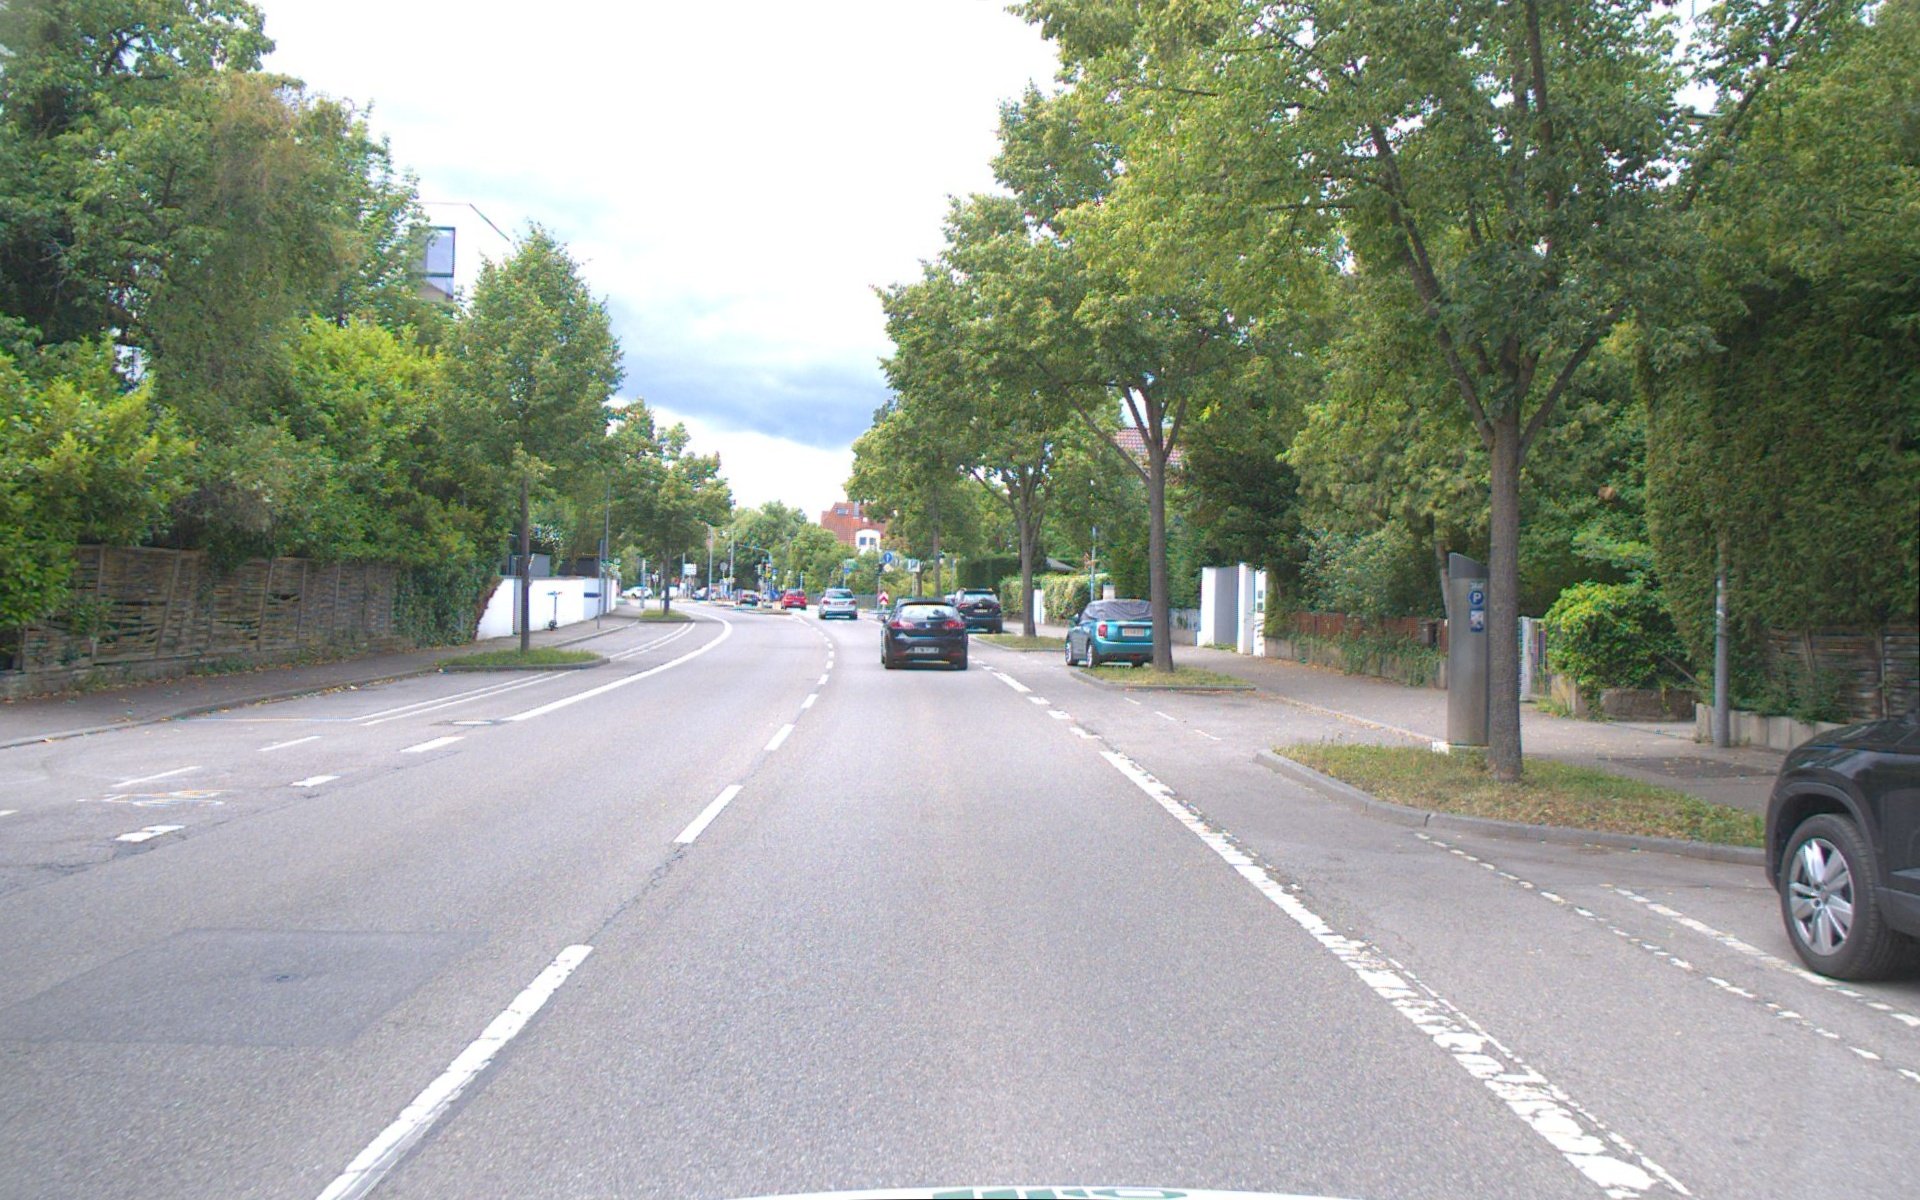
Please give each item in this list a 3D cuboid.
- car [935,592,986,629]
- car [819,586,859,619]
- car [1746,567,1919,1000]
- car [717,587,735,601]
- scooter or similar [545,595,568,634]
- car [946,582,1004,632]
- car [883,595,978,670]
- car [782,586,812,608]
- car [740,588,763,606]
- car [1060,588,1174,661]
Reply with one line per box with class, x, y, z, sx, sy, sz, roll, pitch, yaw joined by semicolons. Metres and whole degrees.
car;-0.001;0.414;68.325;1.654;1.474;3.574;1;0;-7
car;-6.027;0.111;82.612;1.954;1.585;3.996;0;0;-4
car;4.494;0.711;5.490;1.605;1.644;4.167;1;0;-3
car;-29.195;-0.751;206.492;1.934;1.705;3.874;1;0;-4
scooter or similar;-12.595;0.447;51.640;0.492;1.174;1.299;1;0;-6
car;0.533;0.268;62.575;1.754;1.803;3.977;1;0;-6
car;-0.569;0.649;34.717;1.746;1.474;3.559;1;0;3
car;-11.639;-0.208;118.114;1.956;1.557;3.992;1;0;-8
car;-19.294;-0.245;153.164;1.955;1.534;3.995;1;-1;-6
car;3.249;0.476;35.000;1.650;1.457;4.039;1;0;-6
